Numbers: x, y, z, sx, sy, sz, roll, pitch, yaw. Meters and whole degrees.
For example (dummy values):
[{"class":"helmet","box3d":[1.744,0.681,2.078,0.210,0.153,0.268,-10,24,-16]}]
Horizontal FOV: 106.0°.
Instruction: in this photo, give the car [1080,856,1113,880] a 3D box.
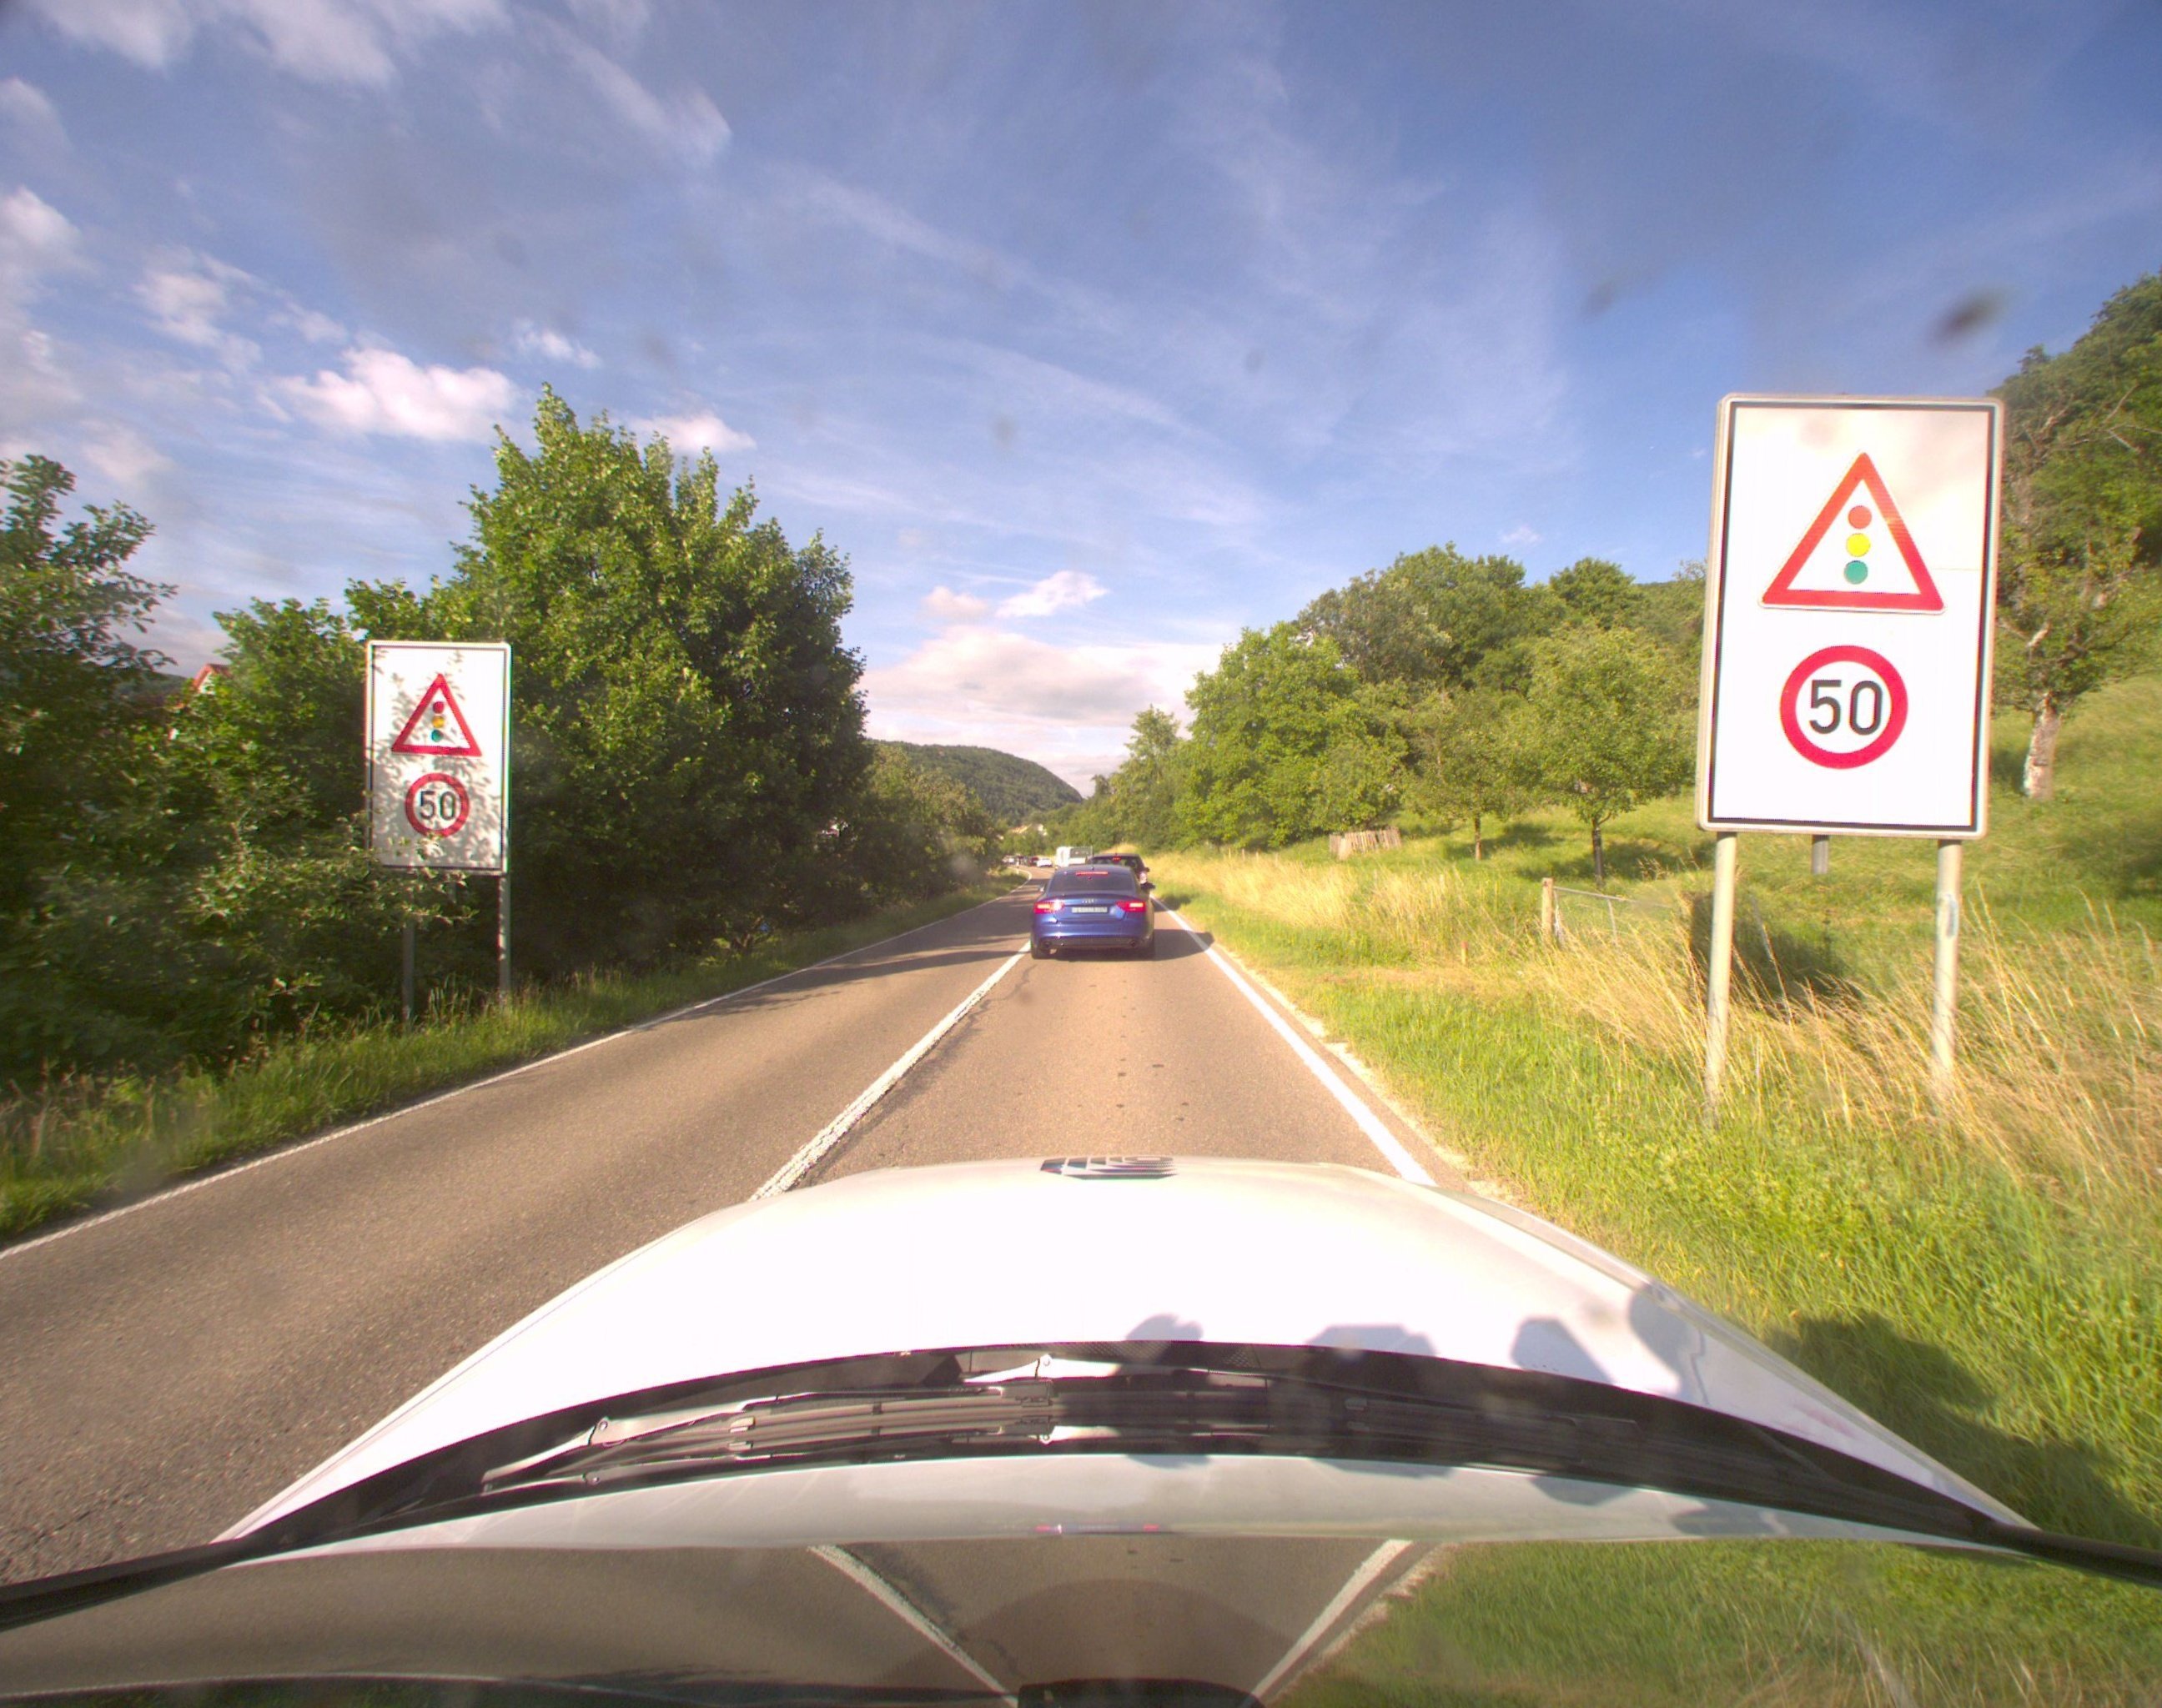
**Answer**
[{"class":"car","box3d":[1.050,0.887,51.727,1.986,1.482,4.002,-1,-1,2]}]

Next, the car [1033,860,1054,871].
[{"class":"car","box3d":[-5.291,1.560,113.972,1.999,1.482,3.975,0,-1,-18]}]

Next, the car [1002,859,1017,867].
[{"class":"car","box3d":[-13.453,1.727,153.213,2.000,1.482,3.973,0,-1,-20]}]

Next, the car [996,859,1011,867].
[{"class":"car","box3d":[-15.169,1.800,159.691,2.000,1.482,3.973,0,-1,-20]}]

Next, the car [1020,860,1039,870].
[{"class":"car","box3d":[-7.838,1.694,123.309,1.999,1.482,3.975,0,-1,-18]}]

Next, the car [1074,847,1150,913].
[{"class":"car","box3d":[0.899,0.701,23.339,1.986,1.702,4.002,-1,-1,2]}]

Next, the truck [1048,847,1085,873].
[{"class":"truck","box3d":[-1.716,0.659,89.668,2.863,2.665,10.613,0,0,-8]}]

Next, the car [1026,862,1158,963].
[{"class":"car","box3d":[0.267,0.817,13.048,1.786,1.360,4.003,-1,-1,3]}]

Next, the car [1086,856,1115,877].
[{"class":"car","box3d":[1.465,0.890,59.977,1.986,1.482,4.002,-1,-1,2]}]

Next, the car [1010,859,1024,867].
[{"class":"car","box3d":[-11.371,1.589,144.481,1.996,1.482,3.981,0,-1,-14]}]

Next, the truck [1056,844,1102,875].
[{"class":"truck","box3d":[-0.294,0.541,75.736,2.863,2.665,10.362,0,0,-8]}]

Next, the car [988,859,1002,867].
[{"class":"car","box3d":[-17.801,1.885,168.077,2.000,1.482,3.973,0,-1,-20]}]
